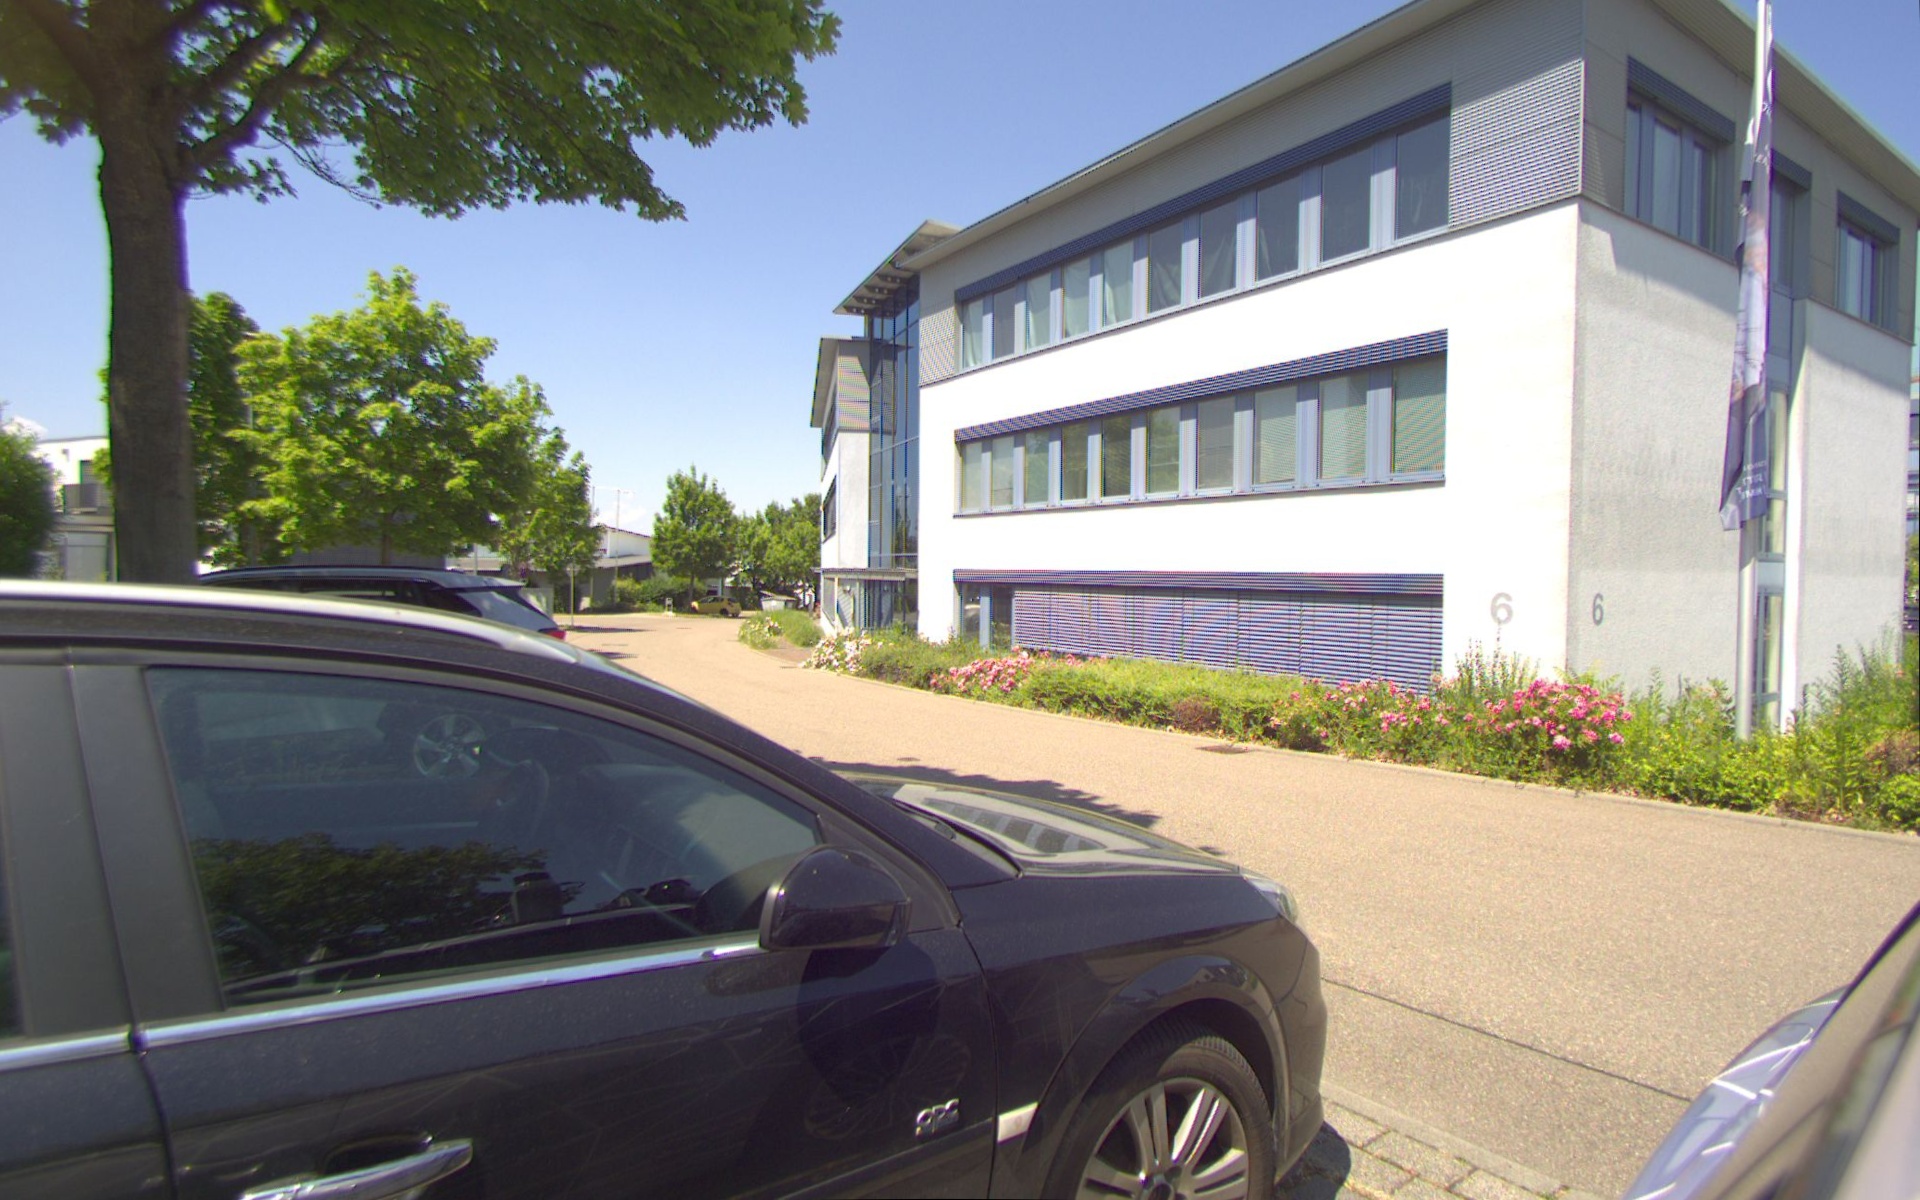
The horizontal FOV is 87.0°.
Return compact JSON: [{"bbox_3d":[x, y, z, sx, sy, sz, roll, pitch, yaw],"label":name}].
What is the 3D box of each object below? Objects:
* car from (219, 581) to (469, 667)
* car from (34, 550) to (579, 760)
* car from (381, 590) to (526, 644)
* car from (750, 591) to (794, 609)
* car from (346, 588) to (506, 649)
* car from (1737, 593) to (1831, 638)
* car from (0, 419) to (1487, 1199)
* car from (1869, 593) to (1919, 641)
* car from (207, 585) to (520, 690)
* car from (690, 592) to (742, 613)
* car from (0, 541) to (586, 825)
[{"bbox_3d":[-12.406,0.492,20.683,4.090,1.625,1.664,1,-1,-21],"label":"car"},{"bbox_3d":[-6.068,0.464,9.860,4.122,1.664,1.661,1,-1,-35],"label":"car"},{"bbox_3d":[-14.674,0.496,29.519,3.514,1.461,1.639,1,-1,-17],"label":"car"},{"bbox_3d":[-15.277,0.021,82.336,3.172,1.460,1.580,0,0,18],"label":"car"},{"bbox_3d":[-14.231,0.490,27.169,3.514,1.545,1.639,1,-1,-17],"label":"car"},{"bbox_3d":[30.590,0.525,37.535,3.925,1.565,1.788,-1,0,-36],"label":"car"},{"bbox_3d":[-1.028,0.620,1.830,4.480,1.569,1.763,0,0,-37],"label":"car"},{"bbox_3d":[32.695,0.547,34.507,3.925,1.565,1.788,-1,0,-36],"label":"car"},{"bbox_3d":[-9.353,0.572,16.215,4.092,1.505,1.663,1,-1,-27],"label":"car"},{"bbox_3d":[-17.143,0.187,71.138,3.172,1.460,1.580,0,0,18],"label":"car"},{"bbox_3d":[-5.162,0.500,7.355,4.249,1.664,1.857,1,-1,-35],"label":"car"}]
